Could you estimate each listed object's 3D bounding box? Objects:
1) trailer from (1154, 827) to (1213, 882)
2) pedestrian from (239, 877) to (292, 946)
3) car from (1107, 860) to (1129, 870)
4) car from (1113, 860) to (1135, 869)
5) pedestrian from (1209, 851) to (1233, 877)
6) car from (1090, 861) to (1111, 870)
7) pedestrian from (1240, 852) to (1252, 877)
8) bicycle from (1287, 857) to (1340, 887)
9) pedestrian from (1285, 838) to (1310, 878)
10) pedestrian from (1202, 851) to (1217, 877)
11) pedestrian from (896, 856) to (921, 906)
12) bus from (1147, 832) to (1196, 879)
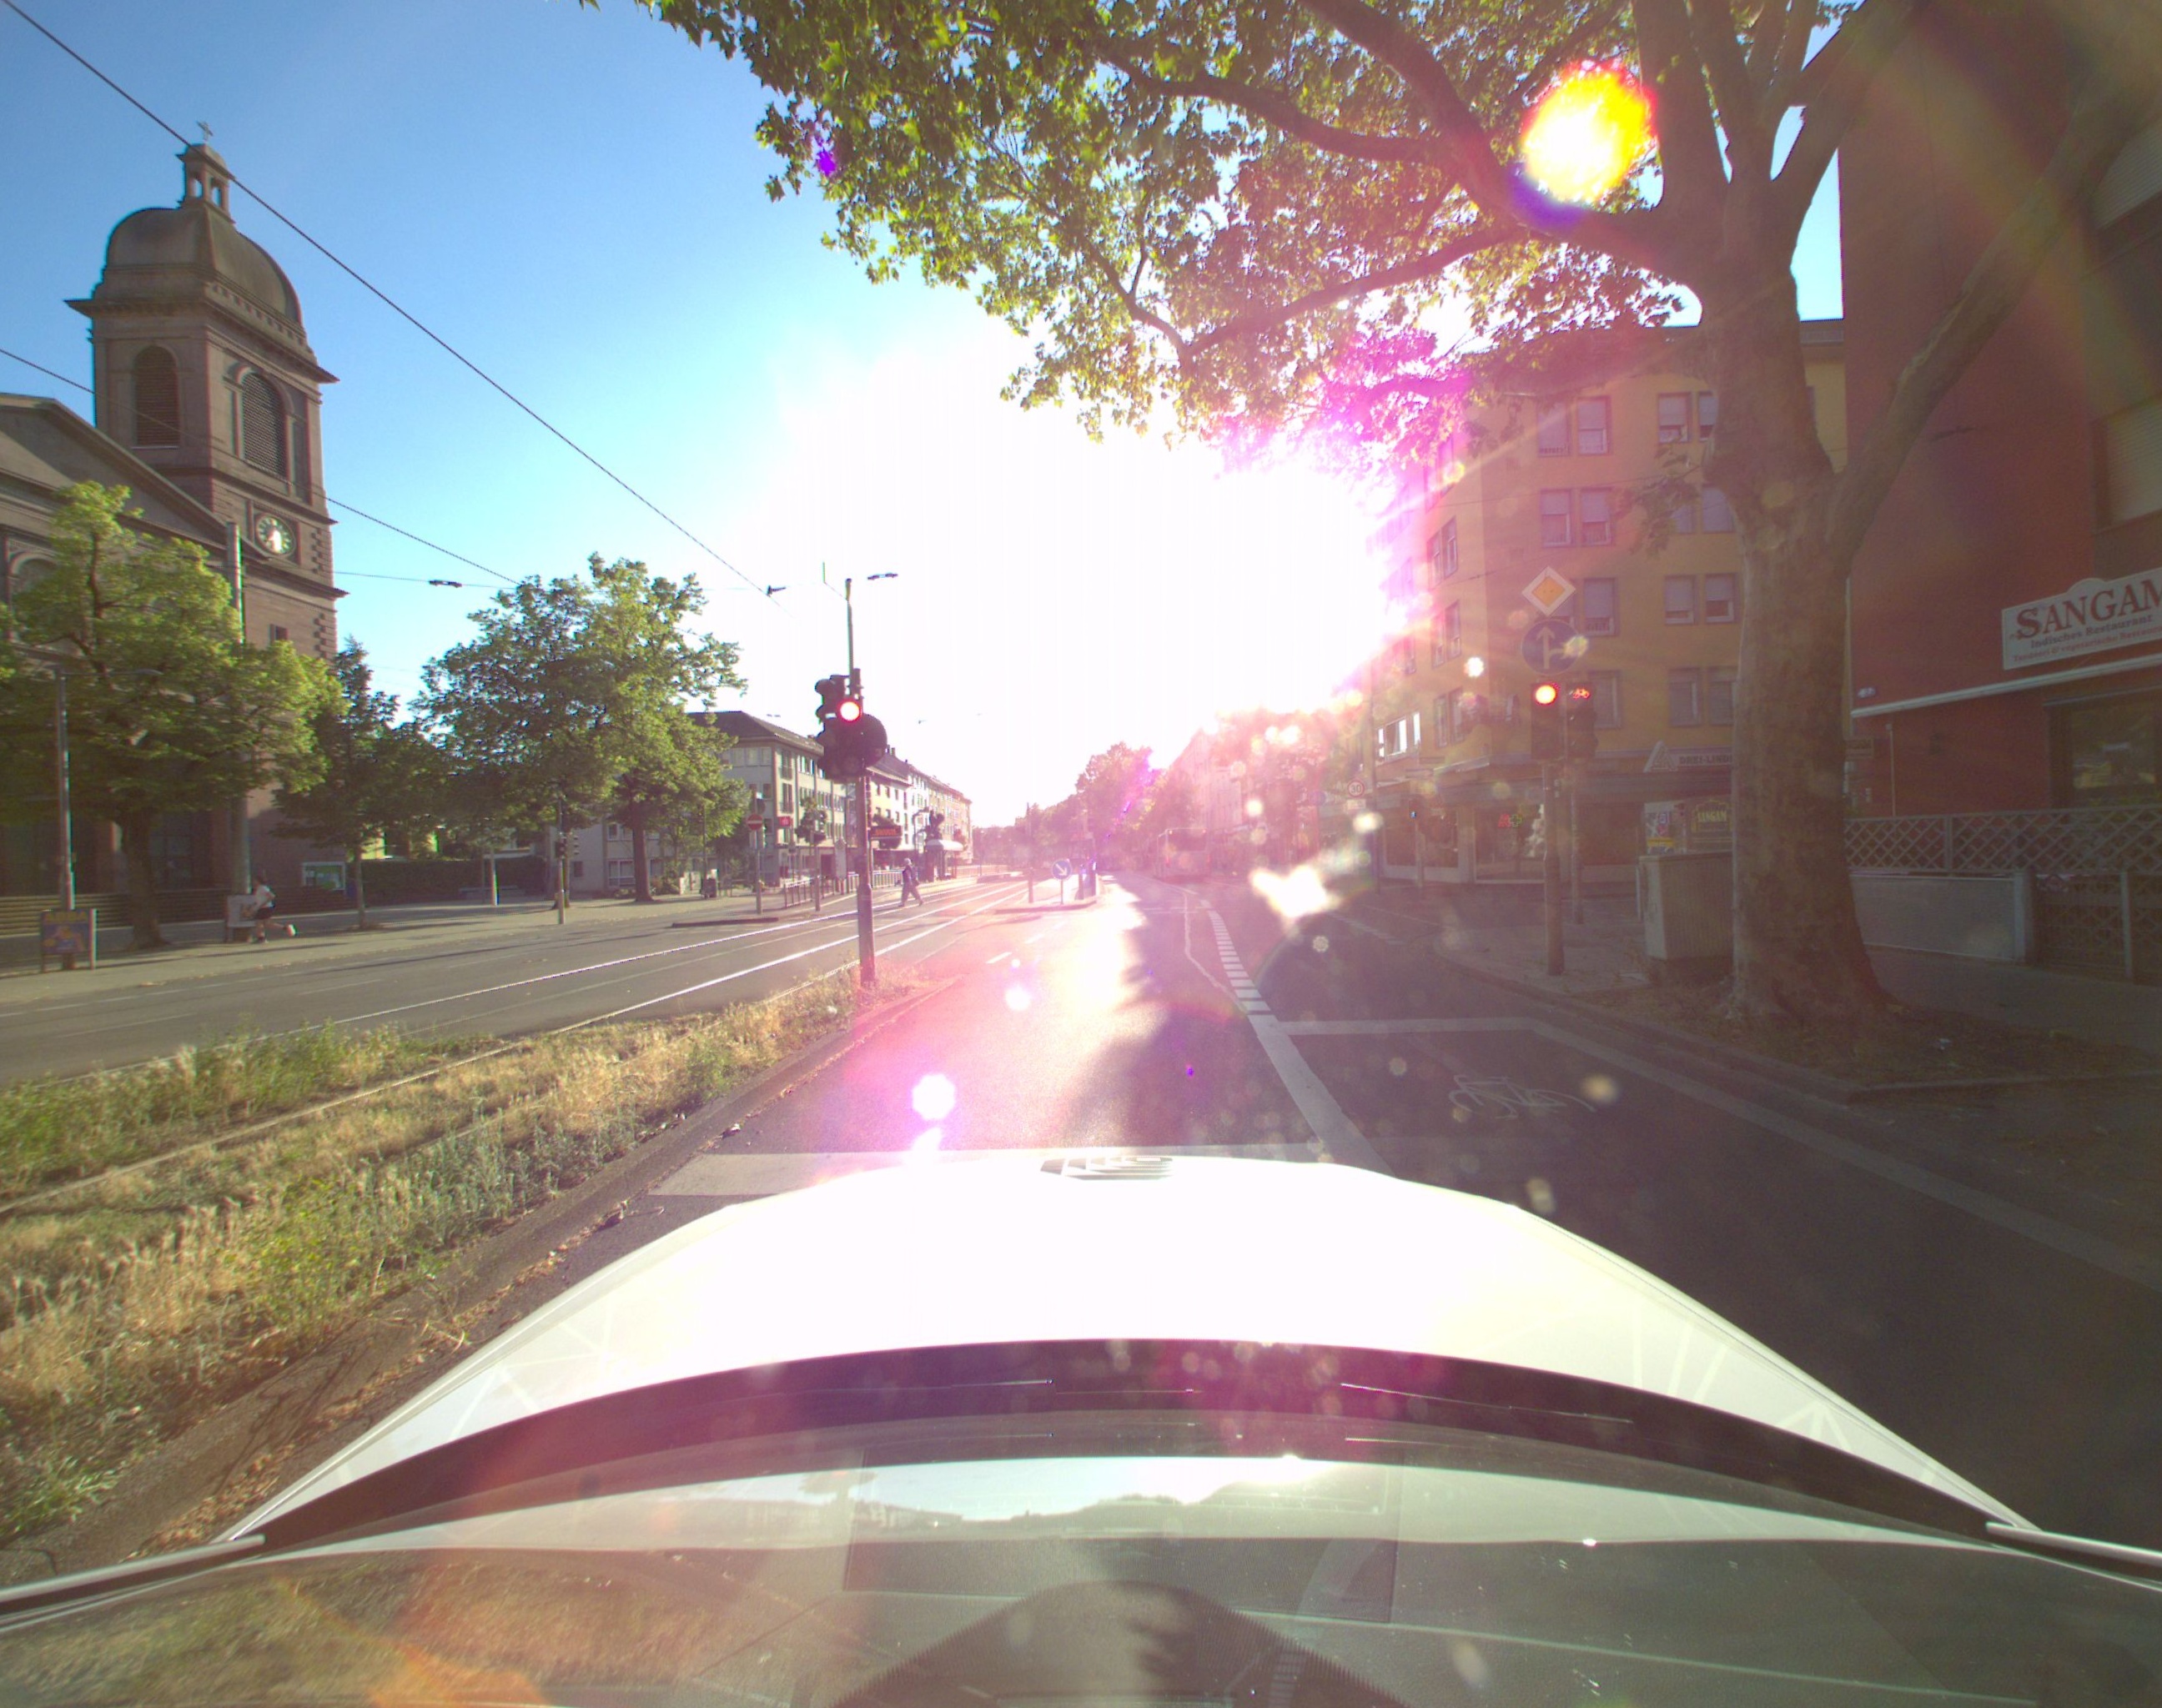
[{"bbox_3d":[6.125,0.053,50.008,2.801,3.110,8.797,0,0,2],"label":"trailer"},{"bbox_3d":[-21.712,1.508,21.695,0.679,1.770,0.686,-2,0,-5],"label":"pedestrian"},{"bbox_3d":[7.368,2.178,161.381,3.911,1.699,1.817,-2,0,-27],"label":"car"},{"bbox_3d":[8.315,2.043,158.783,3.911,1.699,1.817,-2,0,-27],"label":"car"},{"bbox_3d":[9.352,0.644,54.396,1.151,1.660,1.178,-2,0,-19],"label":"pedestrian"},{"bbox_3d":[4.065,2.304,166.585,3.911,1.596,1.676,-2,0,-27],"label":"car"},{"bbox_3d":[11.064,0.701,54.580,0.674,1.628,0.656,0,-1,2],"label":"pedestrian"},{"bbox_3d":[8.904,0.699,31.245,1.766,1.021,0.694,-4,-1,1],"label":"bicycle"},{"bbox_3d":[10.950,0.188,41.223,0.950,2.013,0.917,-1,0,0],"label":"pedestrian"},{"bbox_3d":[8.831,0.692,55.968,0.734,1.703,0.572,-4,1,-39],"label":"pedestrian"},{"bbox_3d":[-6.226,0.955,29.374,0.677,1.770,0.687,-2,0,2],"label":"pedestrian"},{"bbox_3d":[6.433,0.114,58.921,2.801,3.101,9.097,0,0,2],"label":"bus"}]
